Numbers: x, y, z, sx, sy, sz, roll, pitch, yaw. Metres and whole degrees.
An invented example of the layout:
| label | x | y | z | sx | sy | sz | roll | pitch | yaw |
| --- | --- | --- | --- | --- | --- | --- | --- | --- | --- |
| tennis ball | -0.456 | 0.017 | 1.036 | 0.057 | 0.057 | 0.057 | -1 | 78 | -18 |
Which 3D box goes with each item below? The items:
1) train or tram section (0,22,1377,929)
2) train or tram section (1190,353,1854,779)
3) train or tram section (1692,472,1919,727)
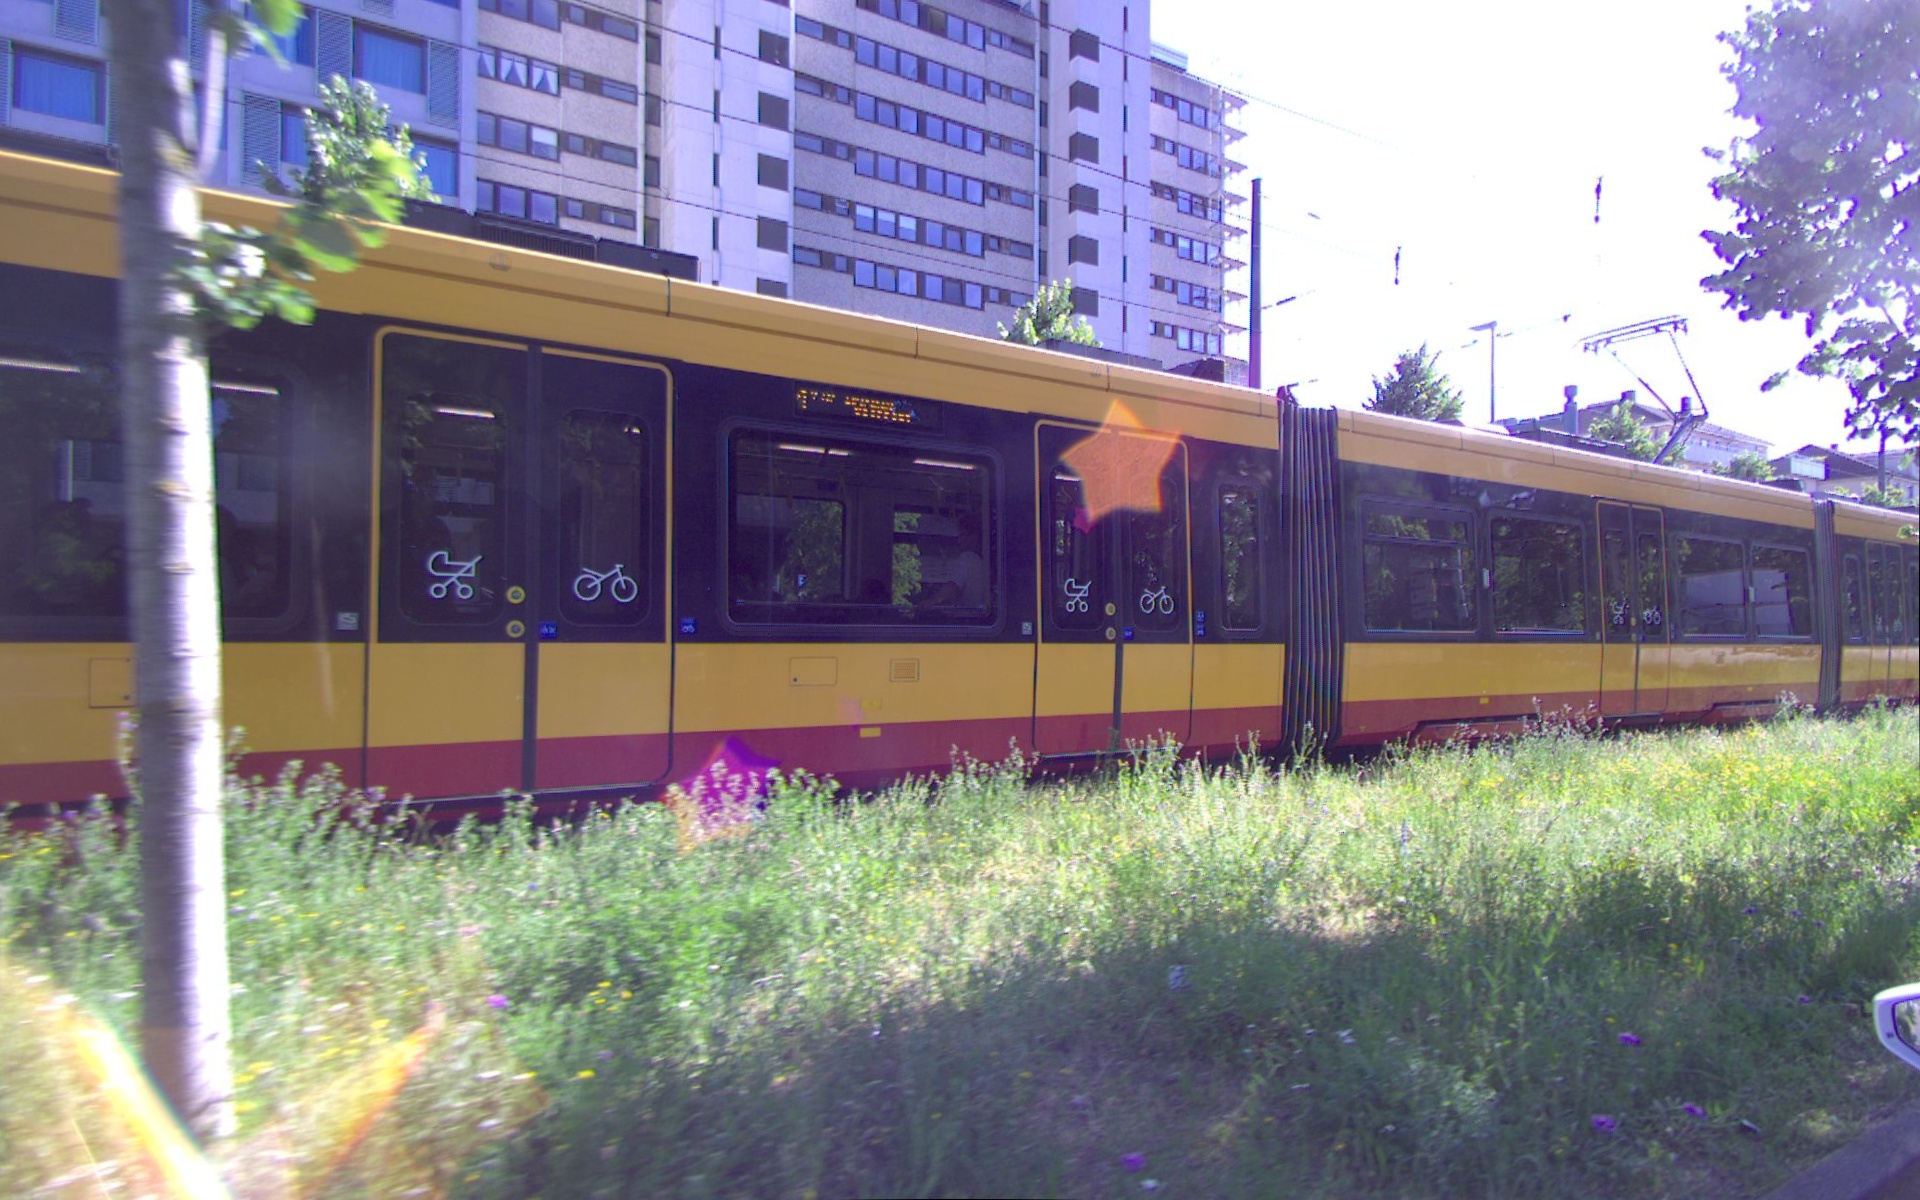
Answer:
| label | x | y | z | sx | sy | sz | roll | pitch | yaw |
| --- | --- | --- | --- | --- | --- | --- | --- | --- | --- |
| train or tram section | -2.810 | -0.464 | 5.987 | 13.993 | 3.718 | 1.983 | 2 | 0 | -32 |
| train or tram section | 7.703 | -0.173 | 12.540 | 11.187 | 3.718 | 1.983 | 2 | 0 | -31 |
| train or tram section | 17.397 | 0.128 | 18.460 | 11.548 | 3.718 | 1.984 | 2 | 0 | -31 |
